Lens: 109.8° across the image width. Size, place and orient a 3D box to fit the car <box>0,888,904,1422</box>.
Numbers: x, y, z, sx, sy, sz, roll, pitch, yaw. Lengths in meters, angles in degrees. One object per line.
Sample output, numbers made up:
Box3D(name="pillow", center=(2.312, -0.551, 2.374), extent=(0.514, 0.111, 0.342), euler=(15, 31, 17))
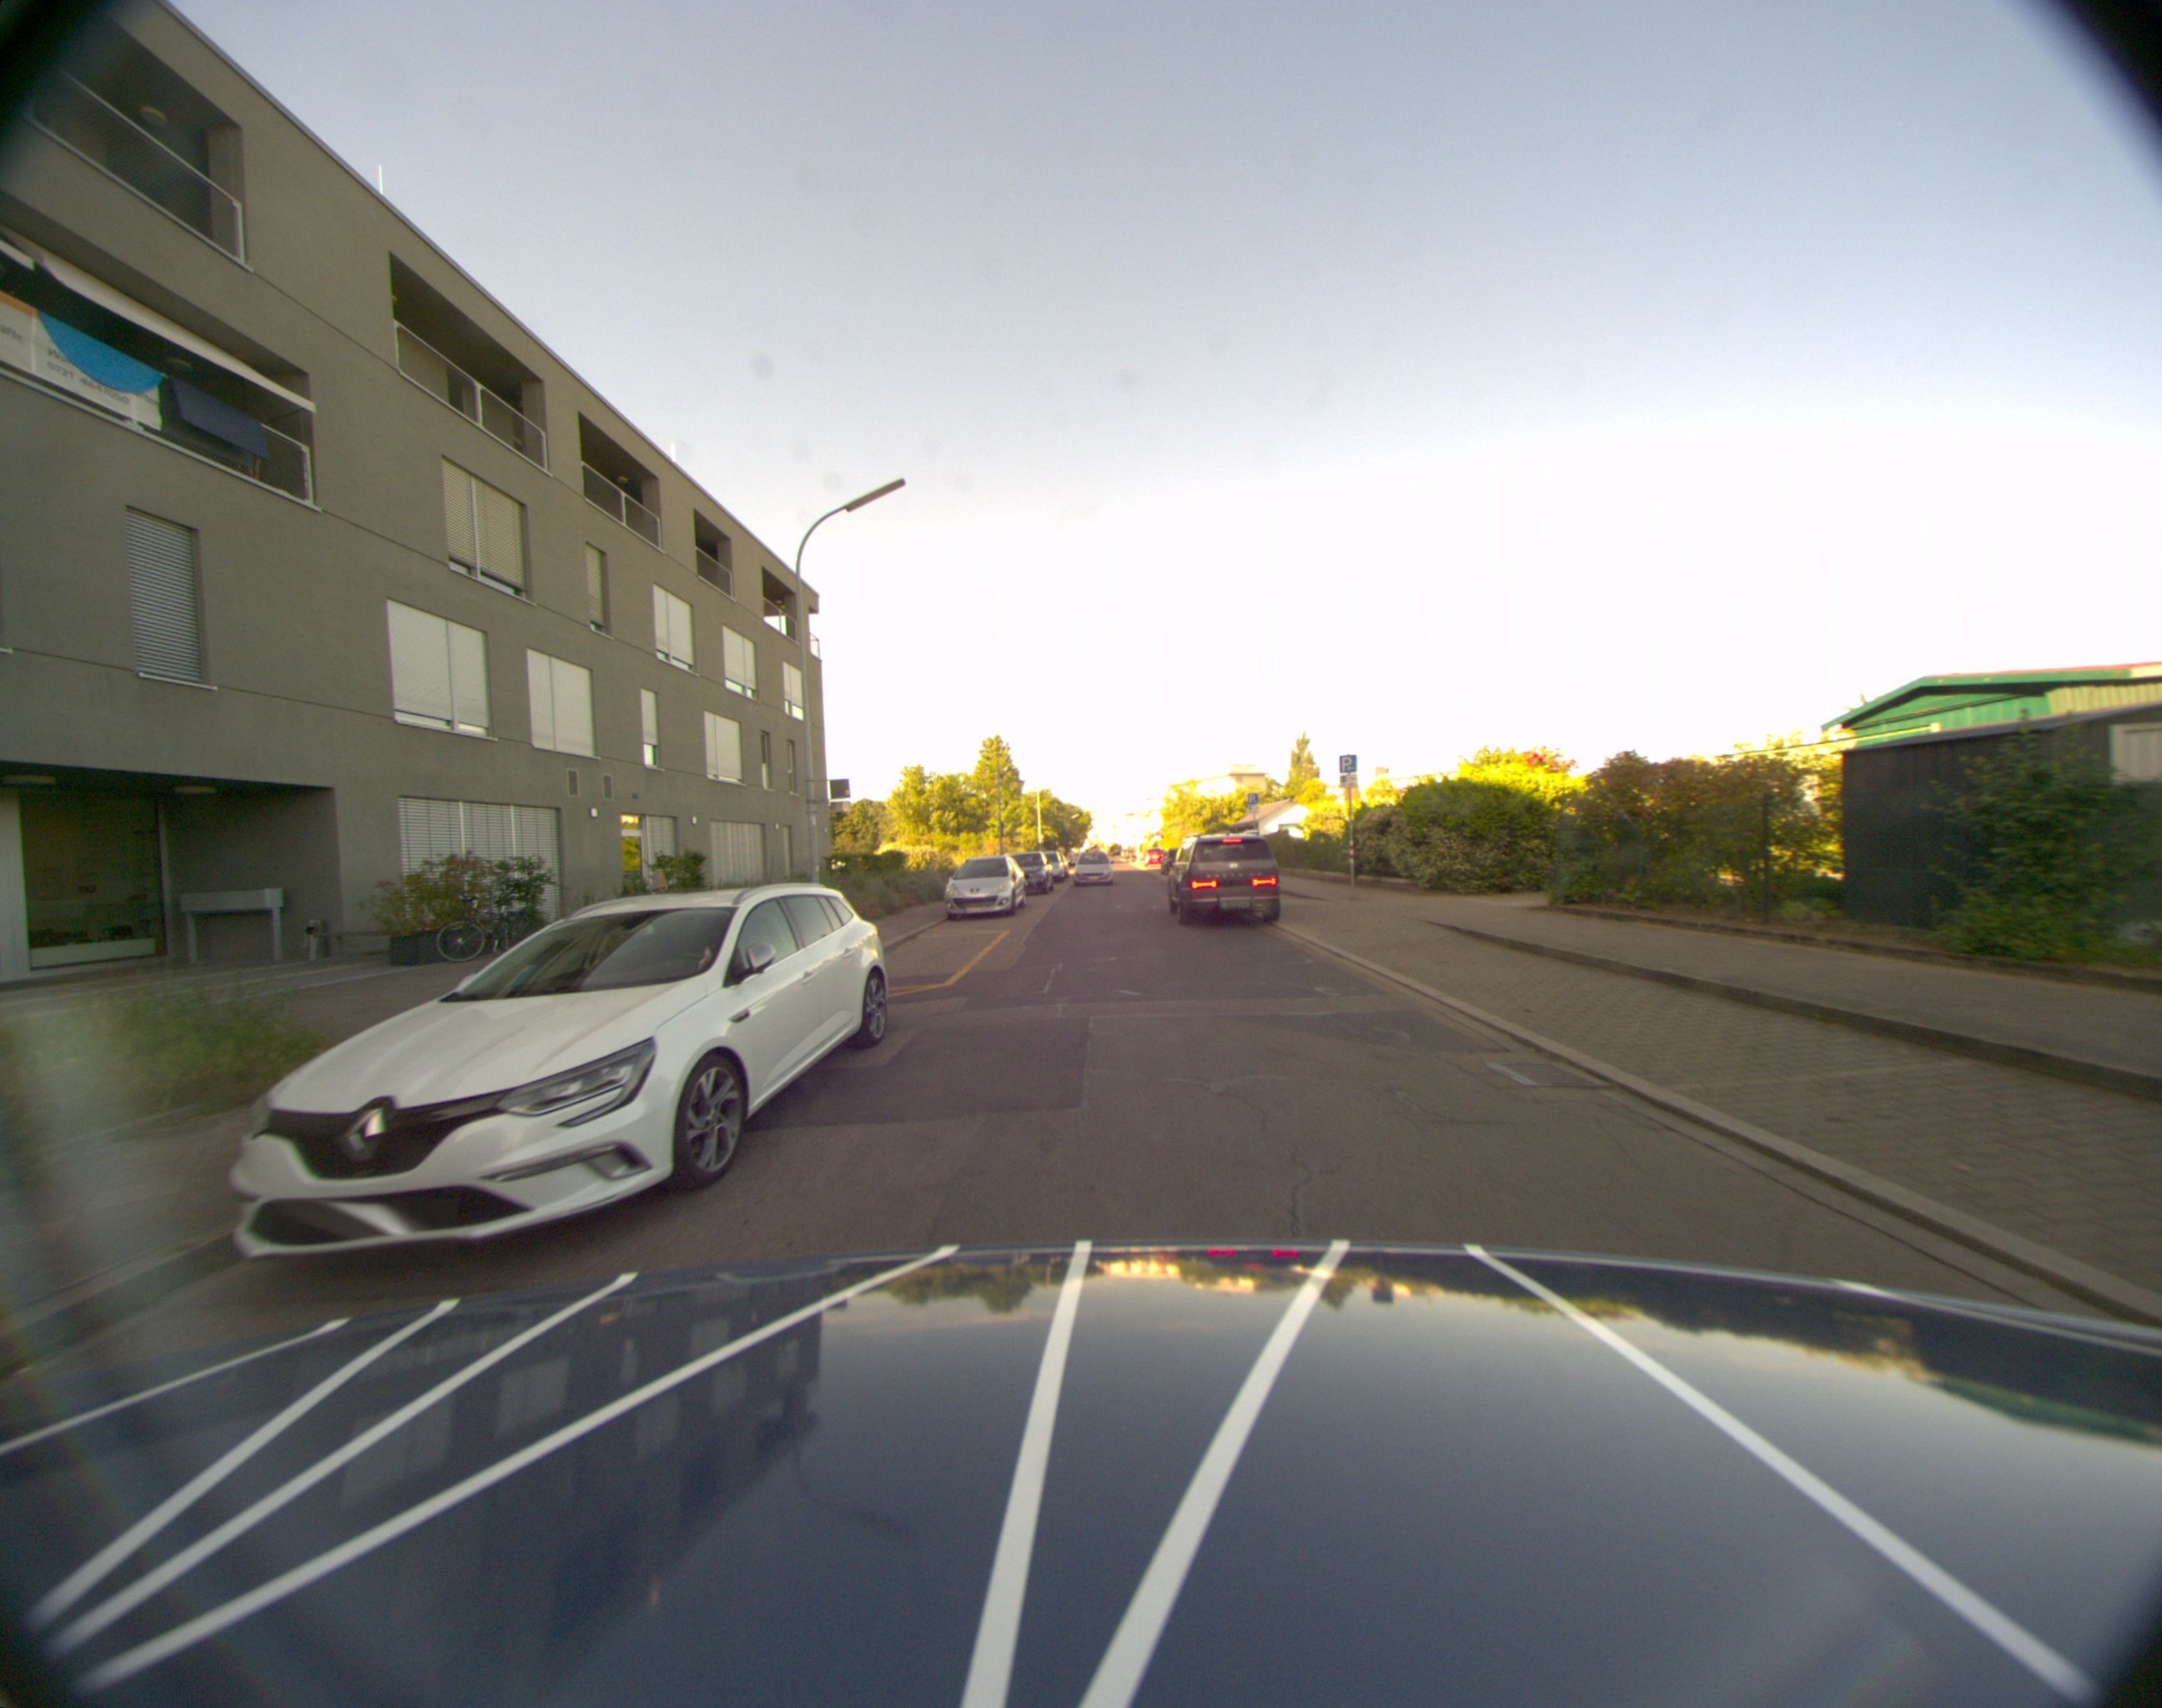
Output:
Box3D(name="car", center=(-2.672, 1.116, 4.812), extent=(1.749, 1.421, 4.586), euler=(-5, 1, 2))

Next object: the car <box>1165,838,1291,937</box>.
Box3D(name="car", center=(2.872, 0.575, 15.902), extent=(1.947, 1.717, 4.839), euler=(-1, 1, 3))

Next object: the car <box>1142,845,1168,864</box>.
Box3D(name="car", center=(5.872, 0.016, 60.970), extent=(1.700, 1.421, 4.386), euler=(-3, 1, 1))

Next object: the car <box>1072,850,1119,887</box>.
Box3D(name="car", center=(0.573, 0.596, 33.117), extent=(1.679, 1.440, 3.998), euler=(-3, 1, -3))

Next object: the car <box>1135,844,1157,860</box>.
Box3D(name="car", center=(6.013, -0.183, 70.745), extent=(1.700, 1.361, 3.910), euler=(-3, 1, 1))

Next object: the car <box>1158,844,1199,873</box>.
Box3D(name="car", center=(5.425, 0.236, 42.714), extent=(1.700, 1.415, 4.517), euler=(-5, 1, 1))

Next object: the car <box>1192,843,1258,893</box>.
Box3D(name="car", center=(4.697, 0.410, 25.207), extent=(1.531, 1.479, 3.401), euler=(-3, 1, 1))

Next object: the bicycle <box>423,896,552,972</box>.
Box3D(name="bicycle", center=(-10.118, 1.334, 13.048), extent=(0.553, 1.055, 1.842), euler=(-3, 1, 6))

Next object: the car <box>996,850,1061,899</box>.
Box3D(name="car", center=(-1.902, 0.714, 29.045), extent=(1.749, 1.558, 4.803), euler=(-4, 1, 4))

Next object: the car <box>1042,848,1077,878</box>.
Box3D(name="car", center=(-1.204, 0.517, 44.244), extent=(1.711, 1.517, 3.093), euler=(-5, 1, 3))

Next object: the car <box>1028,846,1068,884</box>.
Box3D(name="car", center=(-1.661, 0.531, 39.416), extent=(1.711, 1.695, 4.349), euler=(-5, 1, 1))

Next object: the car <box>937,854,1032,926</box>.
Box3D(name="car", center=(-2.413, 0.851, 20.022), extent=(1.711, 1.517, 4.155), euler=(-4, 1, 3))

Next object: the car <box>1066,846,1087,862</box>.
Box3D(name="car", center=(-0.449, 0.012, 79.208), extent=(1.873, 1.517, 4.155), euler=(-3, 1, 3))
